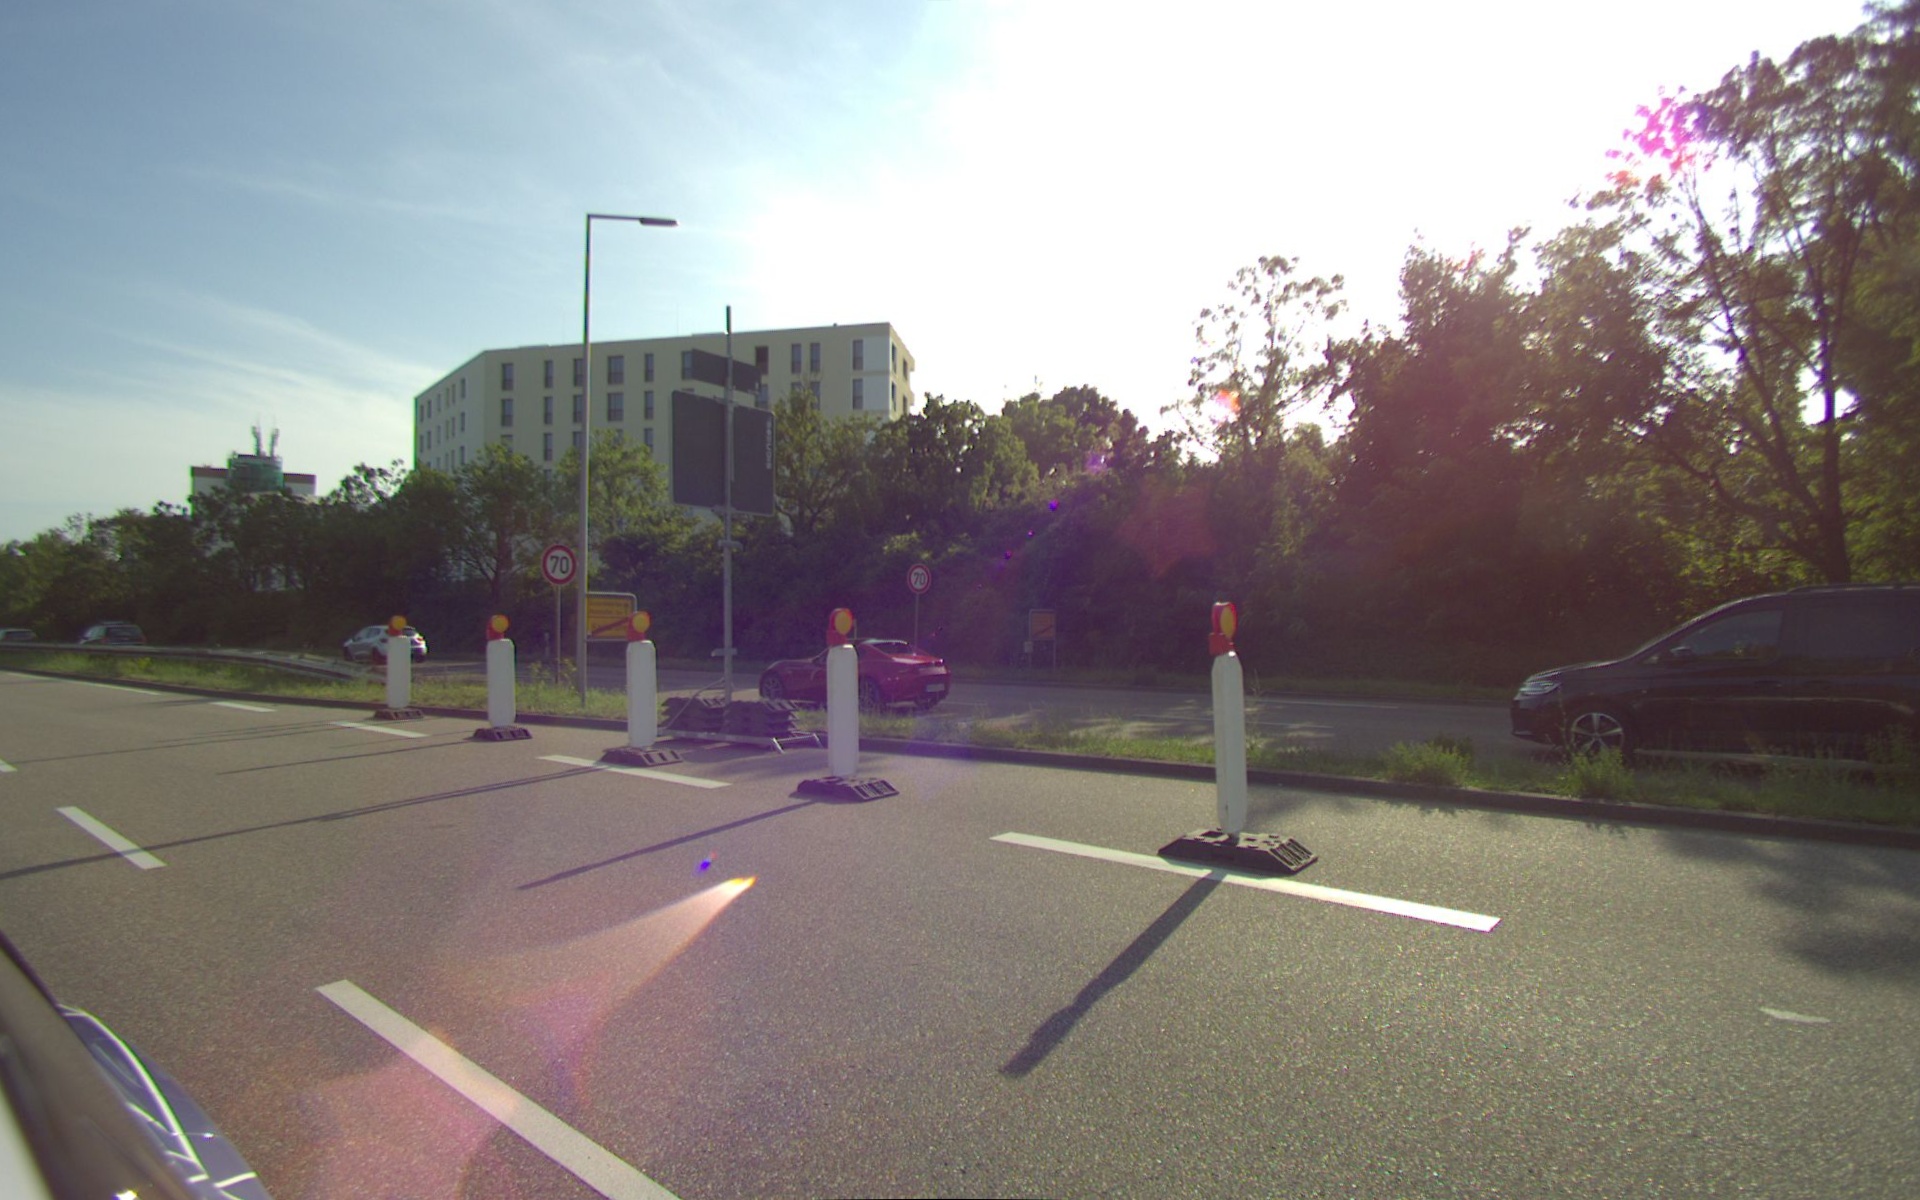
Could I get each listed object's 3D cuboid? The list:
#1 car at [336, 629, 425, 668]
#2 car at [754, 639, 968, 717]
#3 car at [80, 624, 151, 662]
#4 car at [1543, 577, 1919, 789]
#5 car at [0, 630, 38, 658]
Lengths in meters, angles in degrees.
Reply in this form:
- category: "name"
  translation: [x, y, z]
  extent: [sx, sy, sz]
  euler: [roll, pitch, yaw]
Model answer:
- category: "car"
  translation: [-22.124, 1.821, 38.569]
  extent: [4.060, 1.386, 1.623]
  euler: [-1, -1, 39]
- category: "car"
  translation: [-1.768, 1.294, 17.593]
  extent: [3.666, 1.166, 1.497]
  euler: [-1, -1, 37]
- category: "car"
  translation: [-38.267, 1.937, 45.840]
  extent: [3.518, 1.623, 1.715]
  euler: [-1, 0, 37]
- category: "car"
  translation: [8.191, 0.741, 9.869]
  extent: [4.119, 1.820, 1.767]
  euler: [-1, -2, 39]
- category: "car"
  translation: [-53.207, 2.448, 56.877]
  extent: [3.232, 1.452, 1.587]
  euler: [-1, 0, 38]
